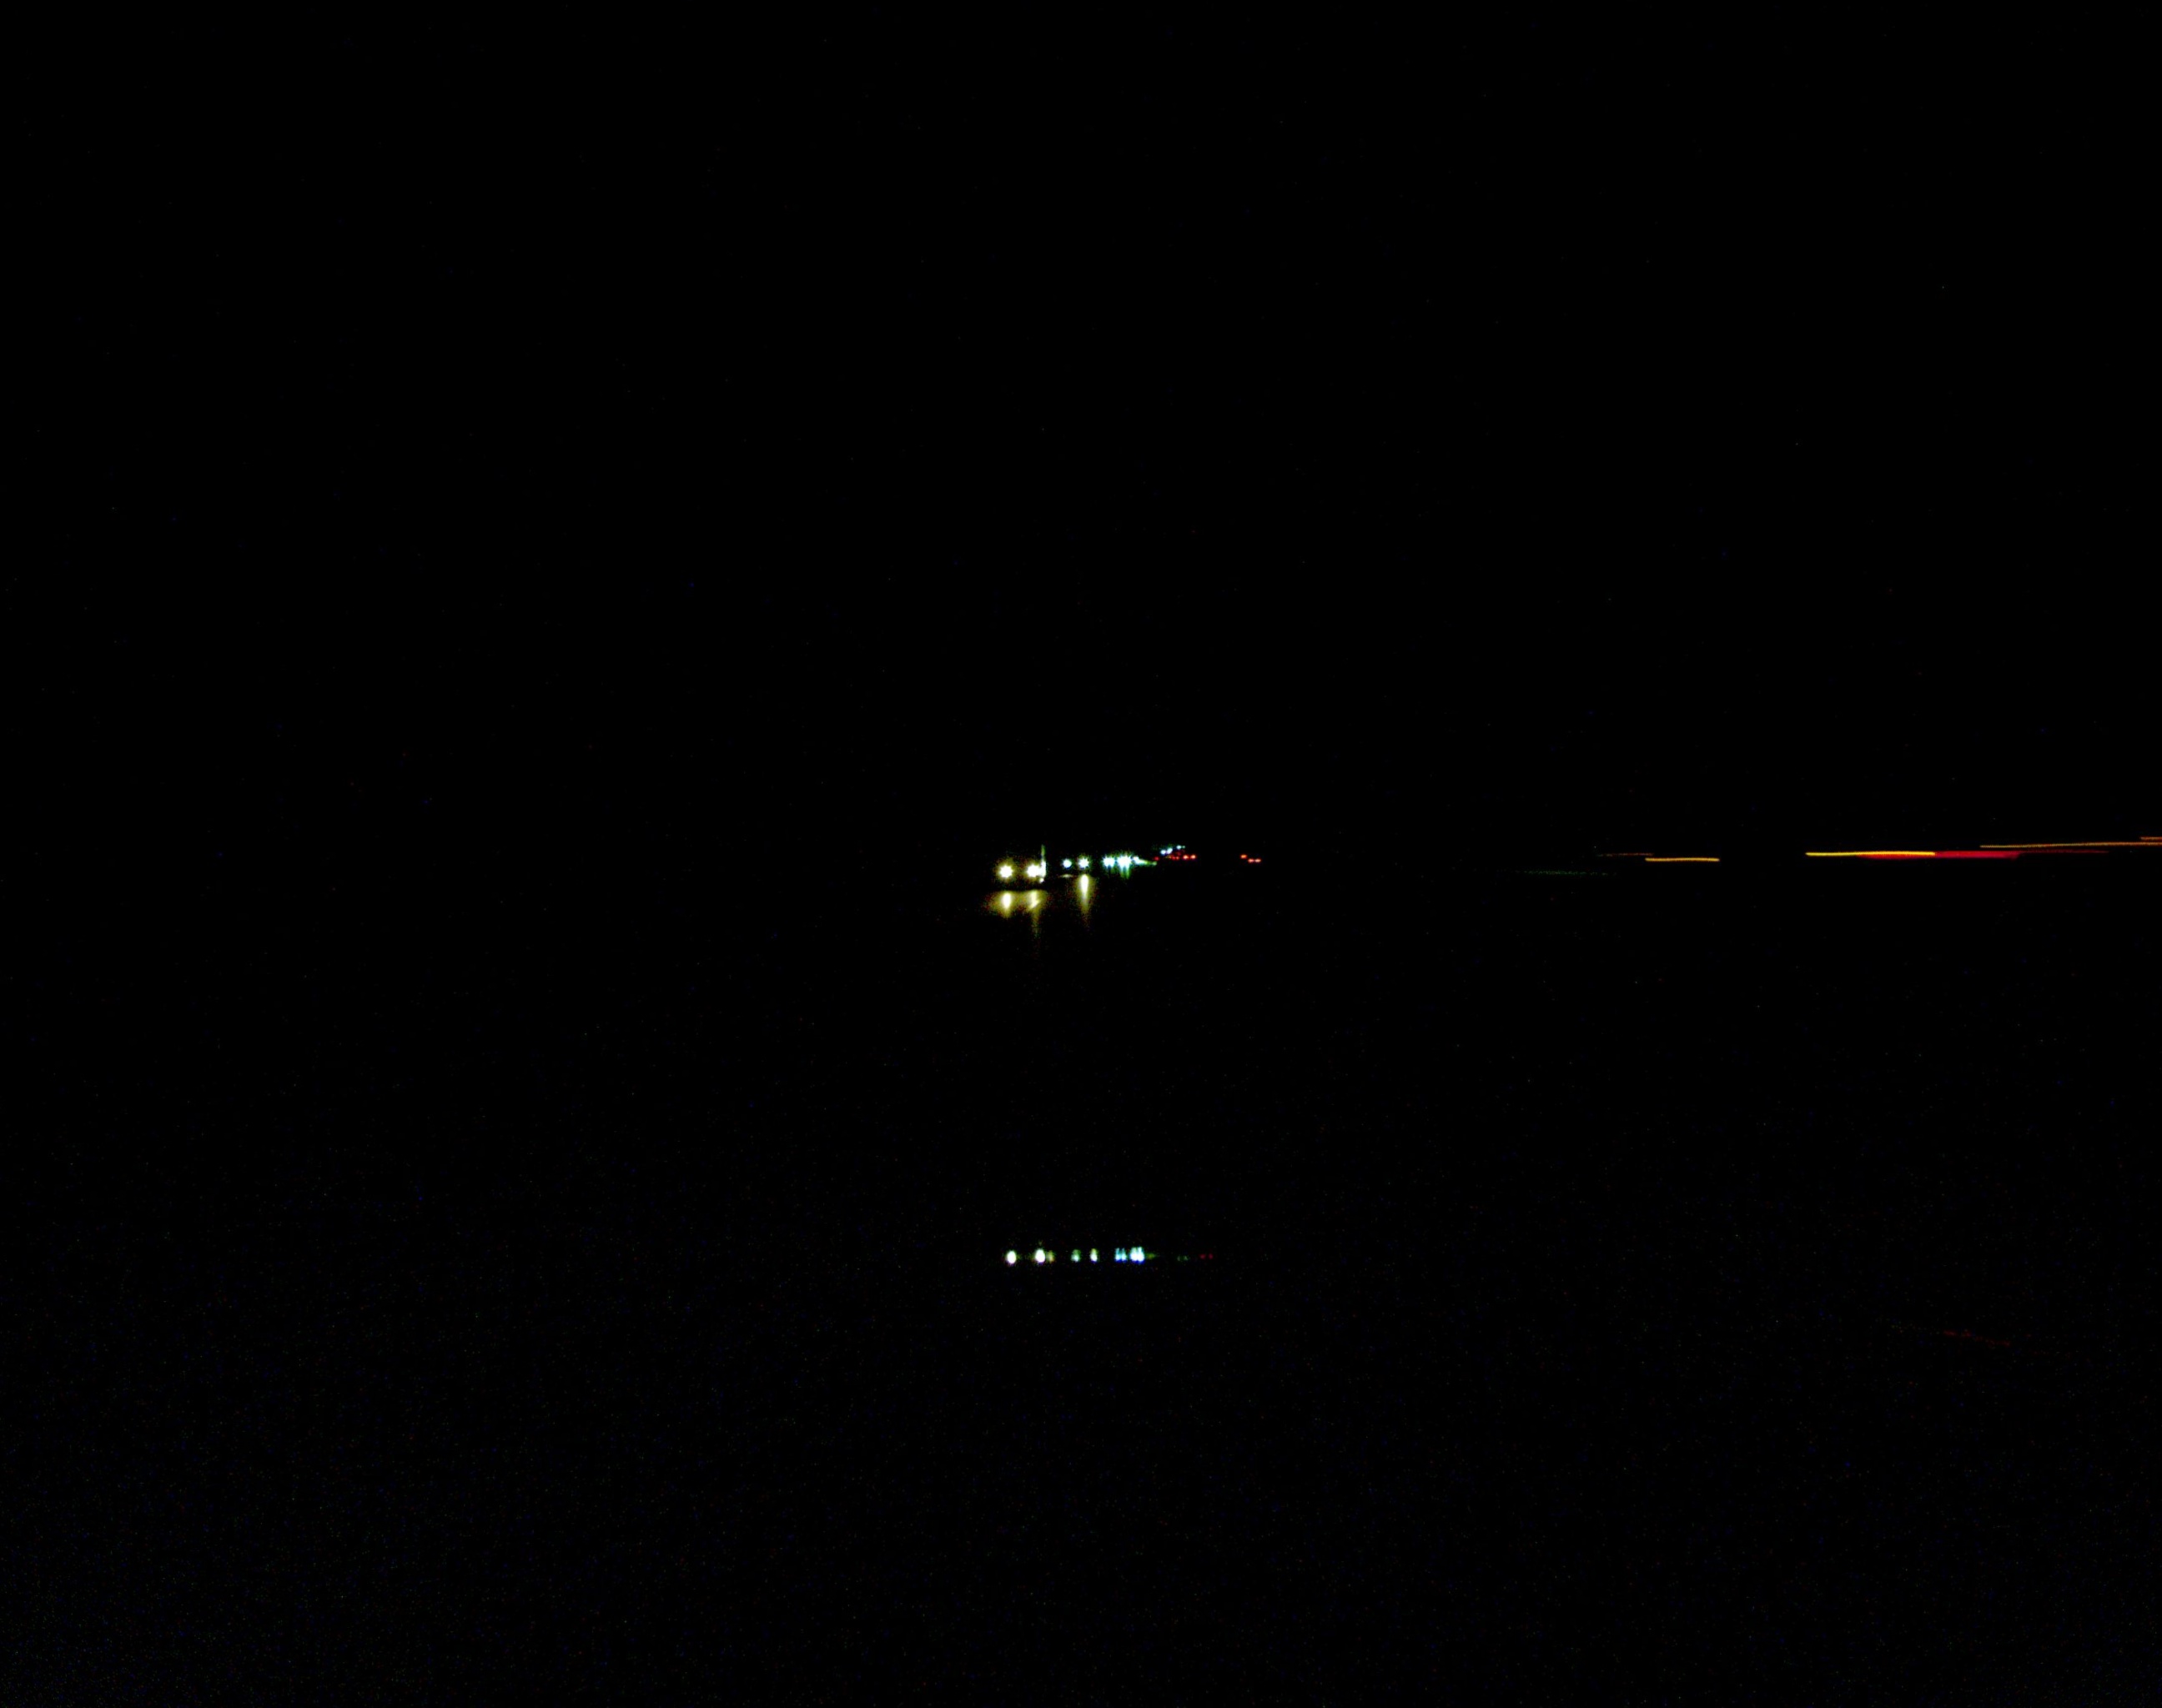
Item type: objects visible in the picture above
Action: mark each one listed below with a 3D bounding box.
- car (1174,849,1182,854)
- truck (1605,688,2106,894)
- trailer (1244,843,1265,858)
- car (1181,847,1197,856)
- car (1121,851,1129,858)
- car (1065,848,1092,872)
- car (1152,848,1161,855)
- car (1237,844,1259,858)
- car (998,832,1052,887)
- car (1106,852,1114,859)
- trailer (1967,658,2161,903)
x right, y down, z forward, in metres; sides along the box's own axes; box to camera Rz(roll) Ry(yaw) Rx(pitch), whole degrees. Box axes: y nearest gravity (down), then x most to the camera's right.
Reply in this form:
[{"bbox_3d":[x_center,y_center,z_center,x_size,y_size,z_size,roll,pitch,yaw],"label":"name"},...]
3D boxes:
[{"bbox_3d":[31.837,-0.736,250.209,2.249,1.658,4.888,-2,0,2],"label":"car"},{"bbox_3d":[19.381,-1.302,20.734,2.867,4.048,10.634,-2,0,1],"label":"truck"},{"bbox_3d":[21.953,-0.453,96.291,1.901,1.736,3.845,-2,0,2],"label":"trailer"},{"bbox_3d":[19.871,-0.447,139.789,2.250,1.588,4.887,-2,0,1],"label":"car"},{"bbox_3d":[11.872,0.152,203.955,1.998,1.734,3.999,-2,2,3],"label":"car"},{"bbox_3d":[-0.193,0.489,69.043,2.120,1.989,5.664,-2,0,2],"label":"car"},{"bbox_3d":[20.450,-0.760,206.259,2.249,1.709,4.888,-2,0,2],"label":"car"},{"bbox_3d":[22.102,-0.458,100.669,1.918,1.736,4.881,-2,0,2],"label":"car"},{"bbox_3d":[-2.849,0.268,40.134,2.037,2.631,5.726,-2,0,3],"label":"car"},{"bbox_3d":[7.768,0.354,201.535,1.998,1.762,3.999,-2,2,3],"label":"car"},{"bbox_3d":[19.265,-1.255,10.850,2.867,4.048,8.871,-2,0,1],"label":"trailer"}]
